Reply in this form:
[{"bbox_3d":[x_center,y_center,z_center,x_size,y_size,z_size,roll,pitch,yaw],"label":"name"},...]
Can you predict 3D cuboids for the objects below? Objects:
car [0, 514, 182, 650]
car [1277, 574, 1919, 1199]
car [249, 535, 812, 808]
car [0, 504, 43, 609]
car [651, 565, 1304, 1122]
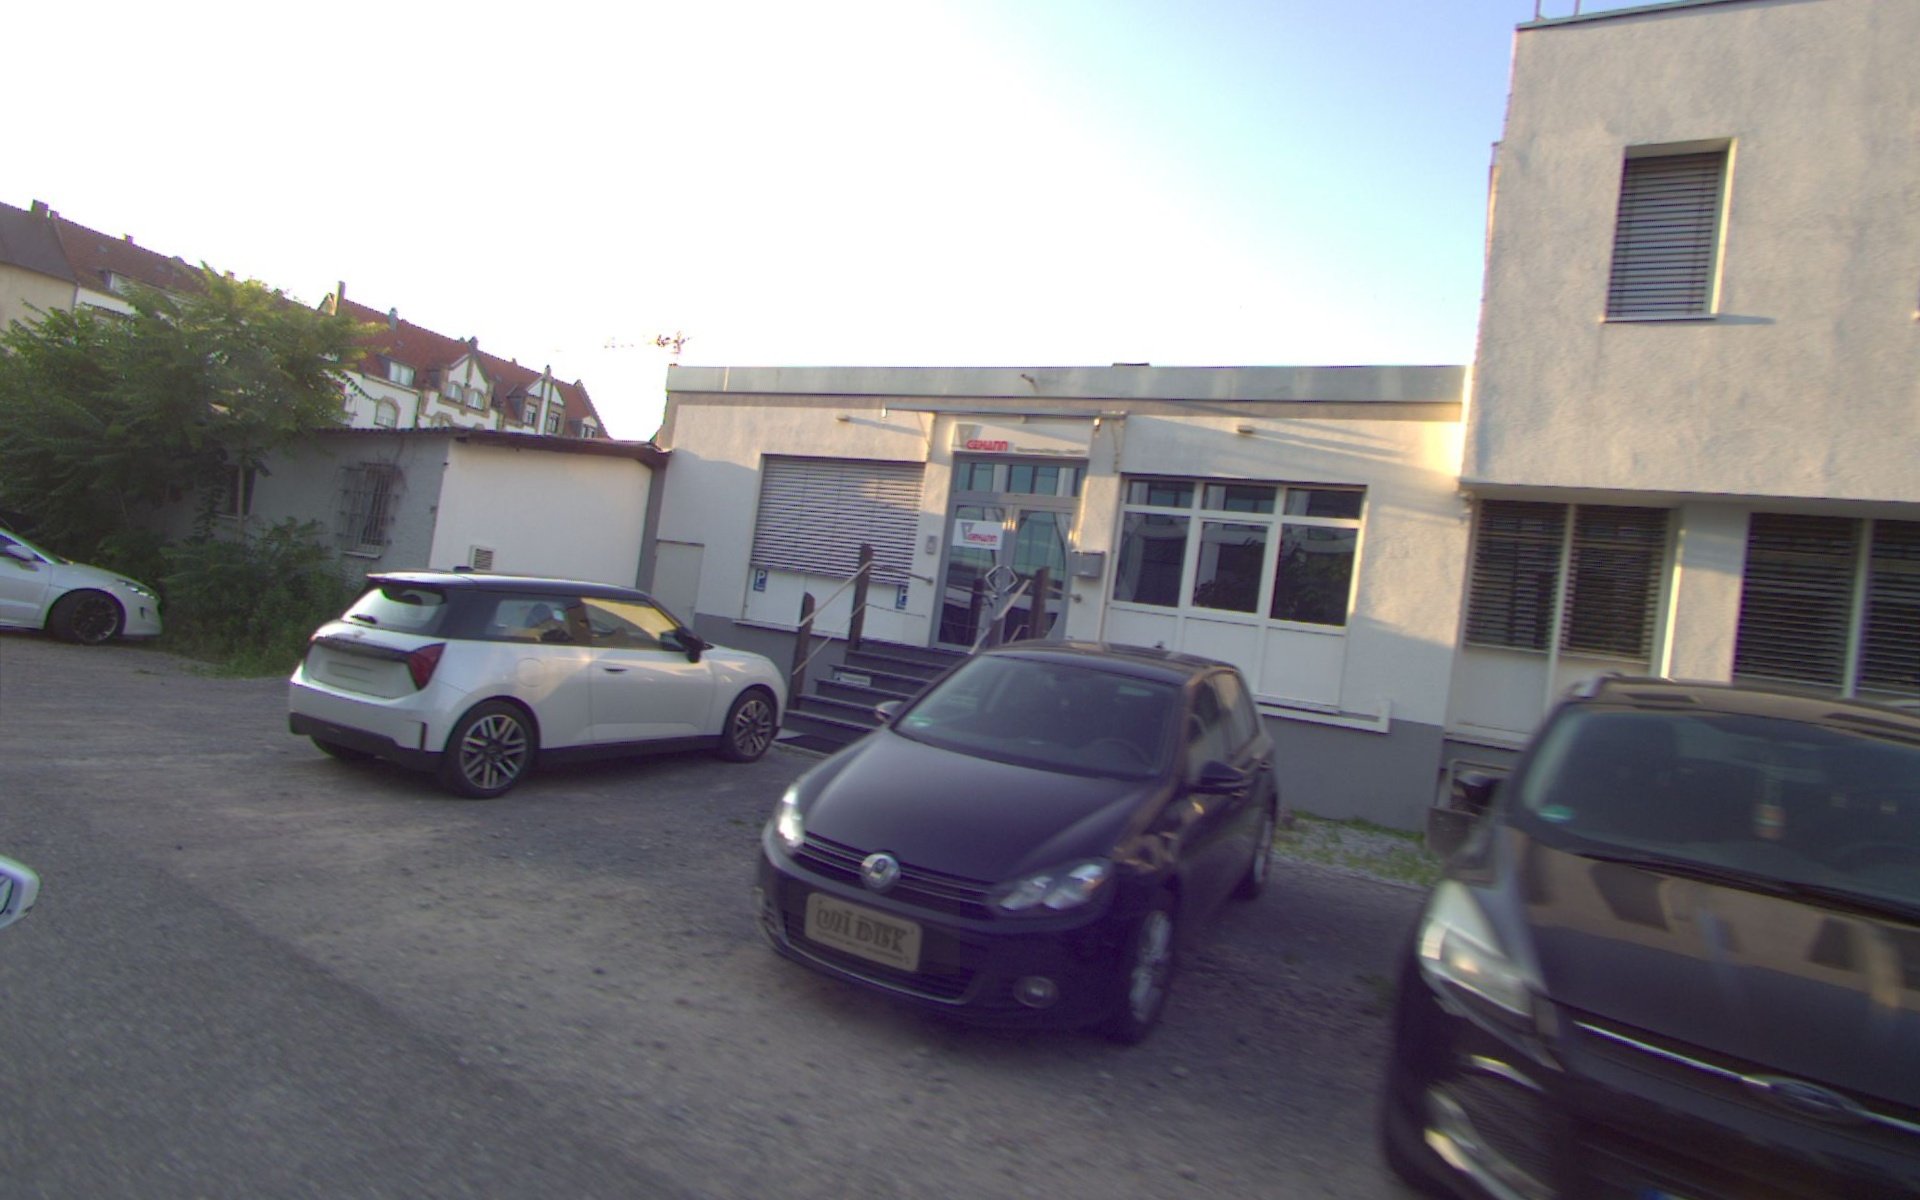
[{"bbox_3d":[-11.900,-0.422,11.576,1.794,1.381,4.211,7,-4,35],"label":"car"},{"bbox_3d":[2.846,1.114,3.606,1.937,1.761,4.244,6,-2,36],"label":"car"},{"bbox_3d":[-3.060,0.567,7.954,1.683,1.496,3.714,7,-2,30],"label":"car"},{"bbox_3d":[-16.163,-0.976,14.275,1.859,1.518,4.214,6,-5,33],"label":"car"},{"bbox_3d":[0.544,0.919,5.288,1.682,1.582,4.015,7,-2,27],"label":"car"}]
